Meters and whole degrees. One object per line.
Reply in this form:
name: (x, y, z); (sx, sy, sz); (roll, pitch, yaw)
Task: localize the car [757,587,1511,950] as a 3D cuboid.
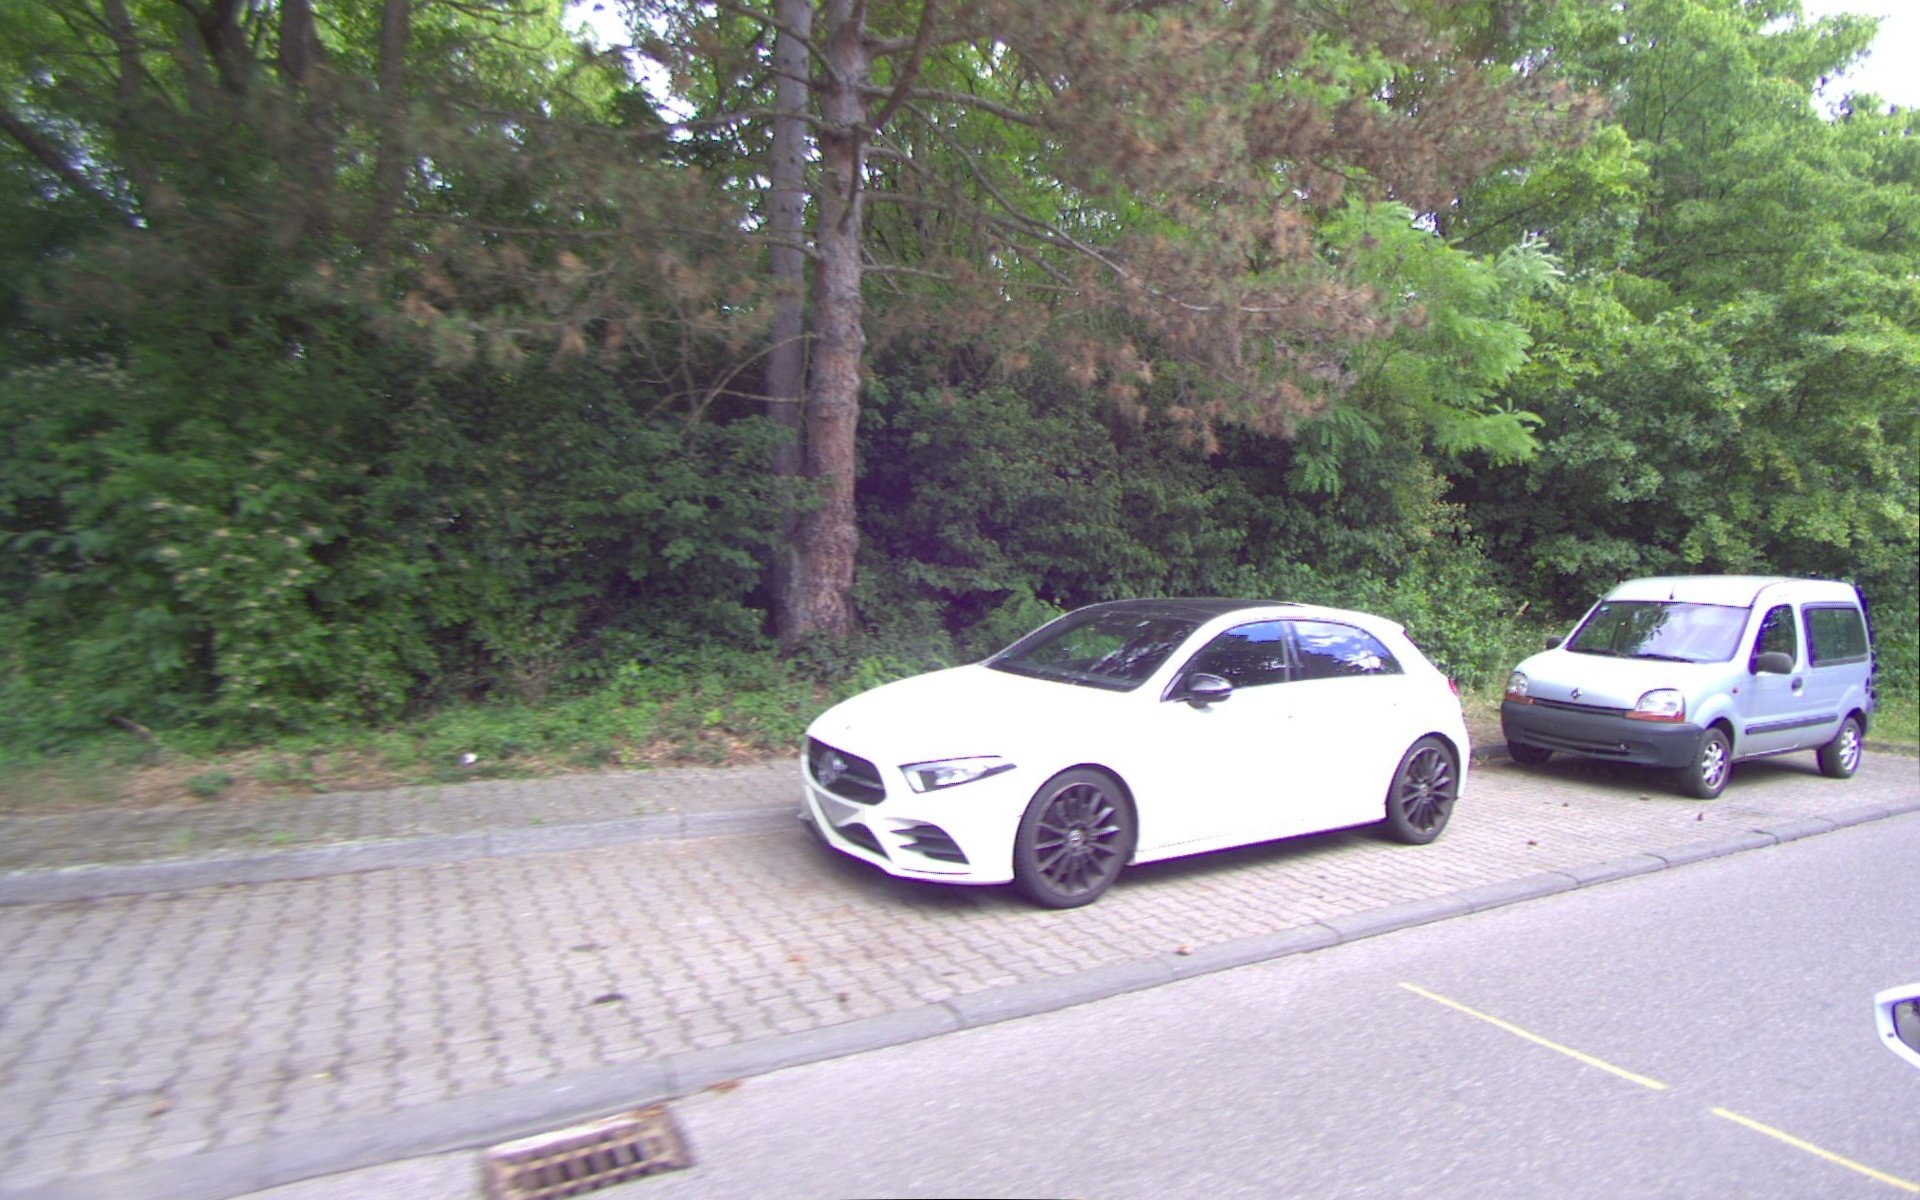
car: (1.171, 0.715, 6.007); (4.323, 1.422, 1.795); (1, 2, -32)

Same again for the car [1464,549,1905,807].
car: (6.793, 0.573, 9.349); (4.055, 1.947, 1.713); (0, 3, -29)
